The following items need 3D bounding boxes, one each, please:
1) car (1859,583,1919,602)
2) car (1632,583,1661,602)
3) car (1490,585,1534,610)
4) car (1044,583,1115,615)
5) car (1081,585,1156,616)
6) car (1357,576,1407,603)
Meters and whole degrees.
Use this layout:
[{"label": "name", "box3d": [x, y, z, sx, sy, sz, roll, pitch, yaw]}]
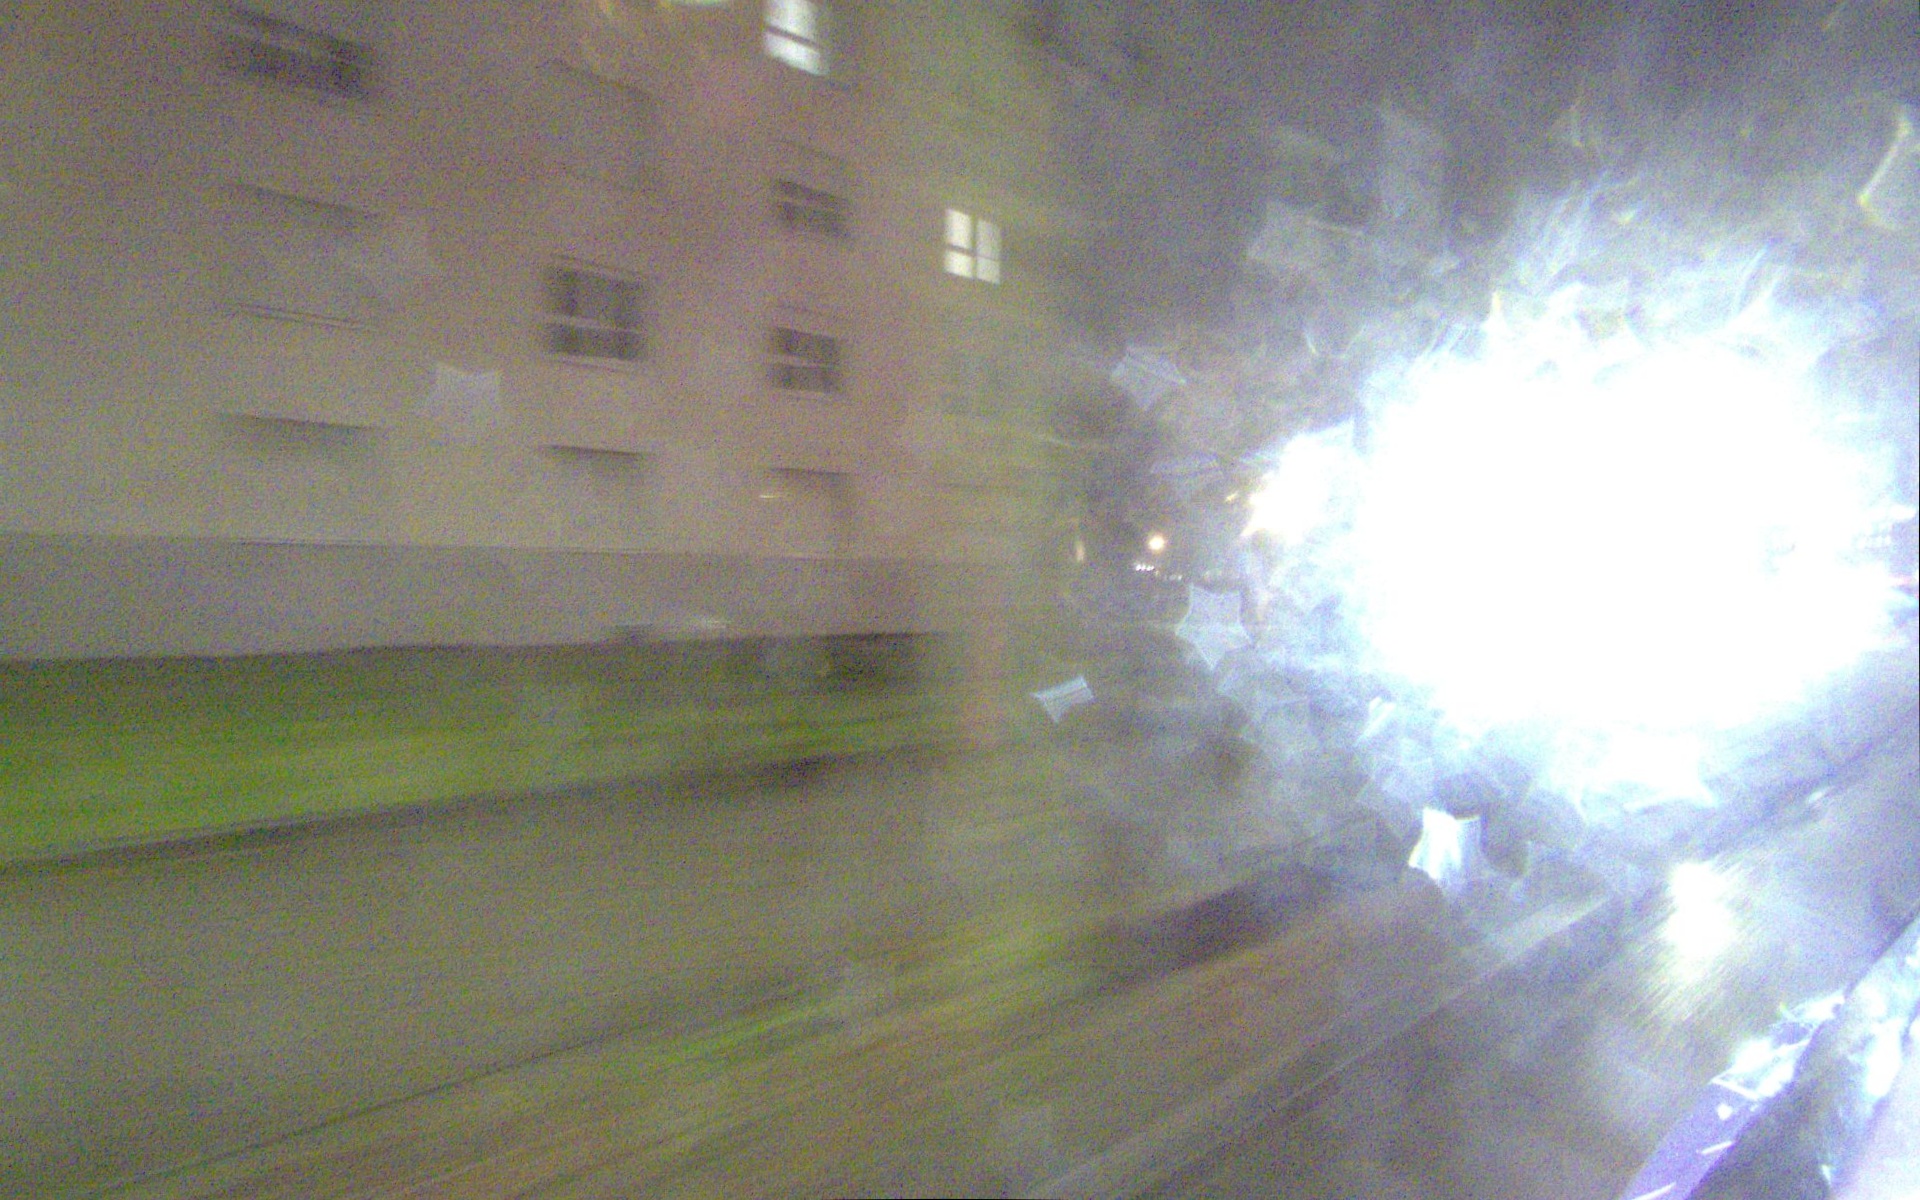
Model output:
[{"label": "car", "box3d": [76.642, -0.629, 82.850, 4.150, 1.484, 1.979, 1, 1, 30]}, {"label": "car", "box3d": [66.342, -0.755, 97.787, 1.990, 1.776, 3.945, 2, 3, 38]}, {"label": "car", "box3d": [40.484, -0.202, 74.161, 1.991, 1.693, 4.125, 2, 1, 40]}, {"label": "car", "box3d": [6.116, -0.065, 51.646, 3.814, 1.587, 1.487, 0, 1, -42]}, {"label": "car", "box3d": [7.789, 0.011, 49.605, 3.953, 1.465, 1.484, 0, 1, -43]}, {"label": "car", "box3d": [29.640, -0.773, 71.210, 1.964, 1.807, 3.998, 1, 2, 3]}]
